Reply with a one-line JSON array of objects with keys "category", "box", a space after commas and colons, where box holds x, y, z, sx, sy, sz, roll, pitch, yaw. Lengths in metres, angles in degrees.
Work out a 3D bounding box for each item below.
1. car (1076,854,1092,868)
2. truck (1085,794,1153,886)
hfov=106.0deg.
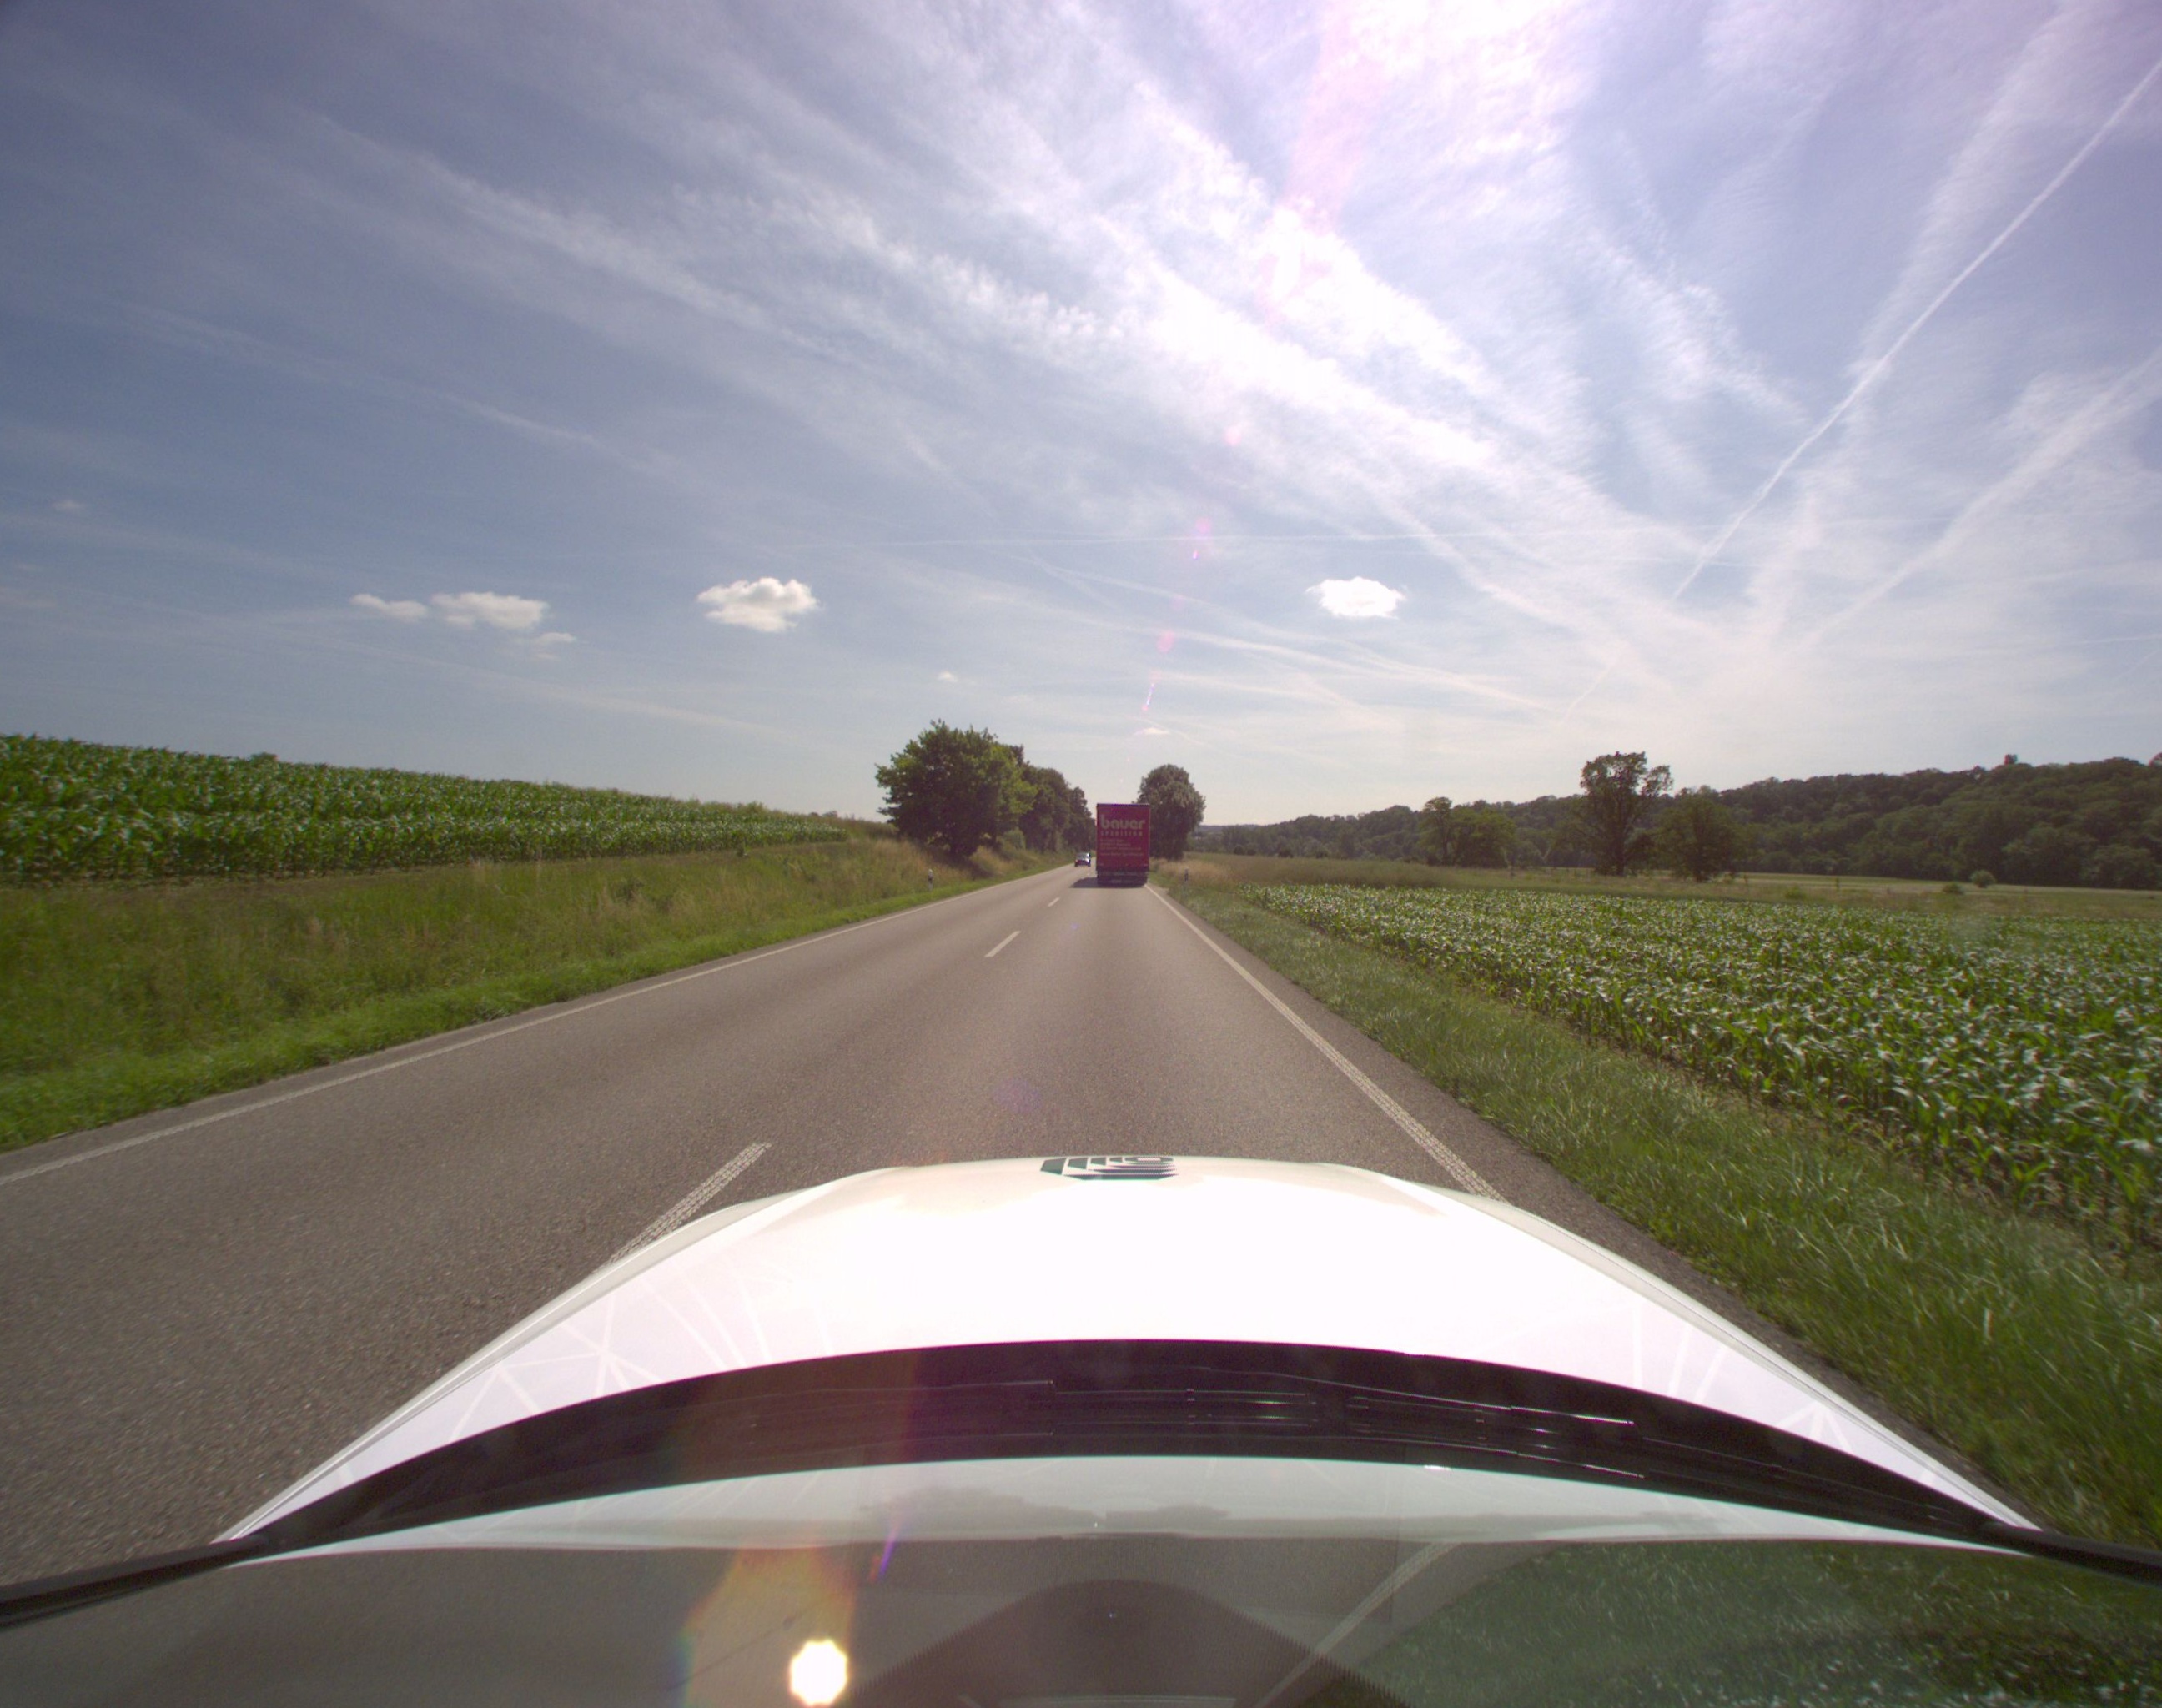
[{"category": "car", "box": [0.369, 0.775, 93.054, 1.650, 1.534, 4.360, 0, 0, 2]}, {"category": "truck", "box": [2.083, -0.623, 42.490, 3.080, 4.263, 8.323, -1, -1, 4]}]
